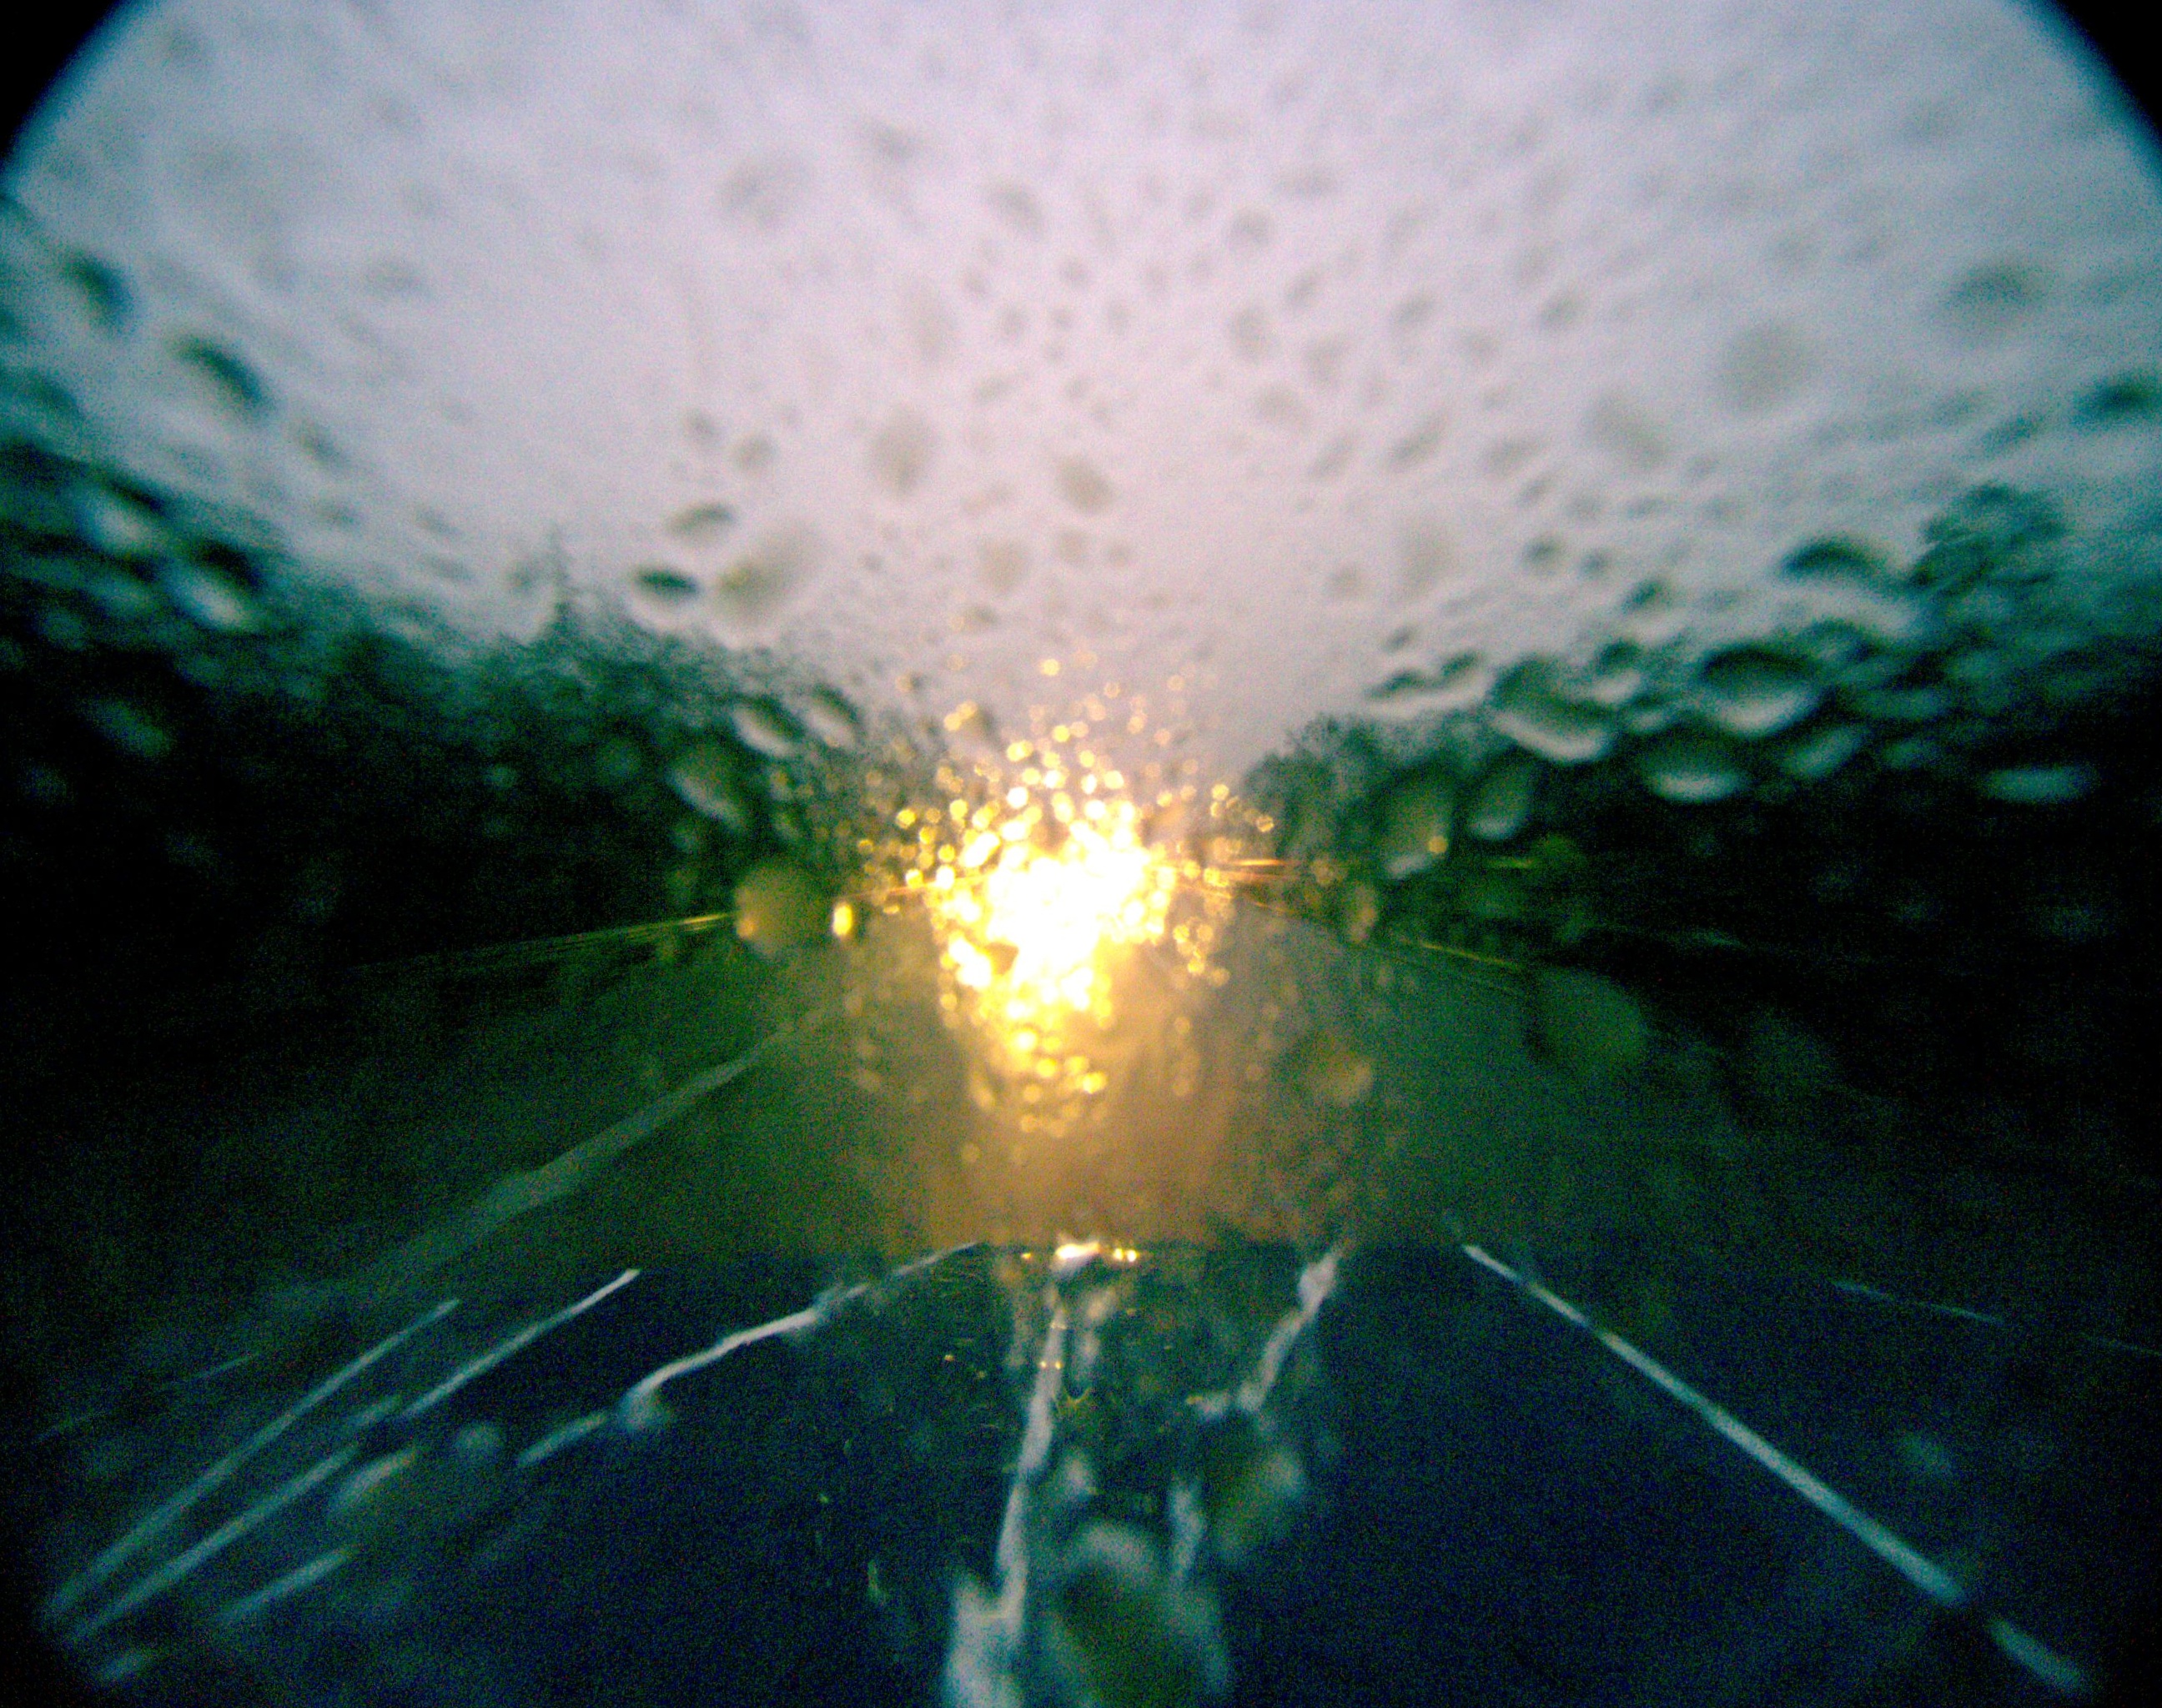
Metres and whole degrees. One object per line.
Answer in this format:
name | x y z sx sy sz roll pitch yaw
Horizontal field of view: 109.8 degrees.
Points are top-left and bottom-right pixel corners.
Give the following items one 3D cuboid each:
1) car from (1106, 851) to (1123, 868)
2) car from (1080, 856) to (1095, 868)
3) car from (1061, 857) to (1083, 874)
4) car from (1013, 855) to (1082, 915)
car | 3.960 0.685 90.525 1.767 1.922 3.999 -2 0 -1
car | 0.827 0.990 98.045 1.741 1.441 4.000 -2 0 2
car | -0.754 0.986 65.764 1.602 1.357 3.306 -3 0 4
car | -1.049 0.961 25.582 1.929 1.781 3.941 -2 0 2
